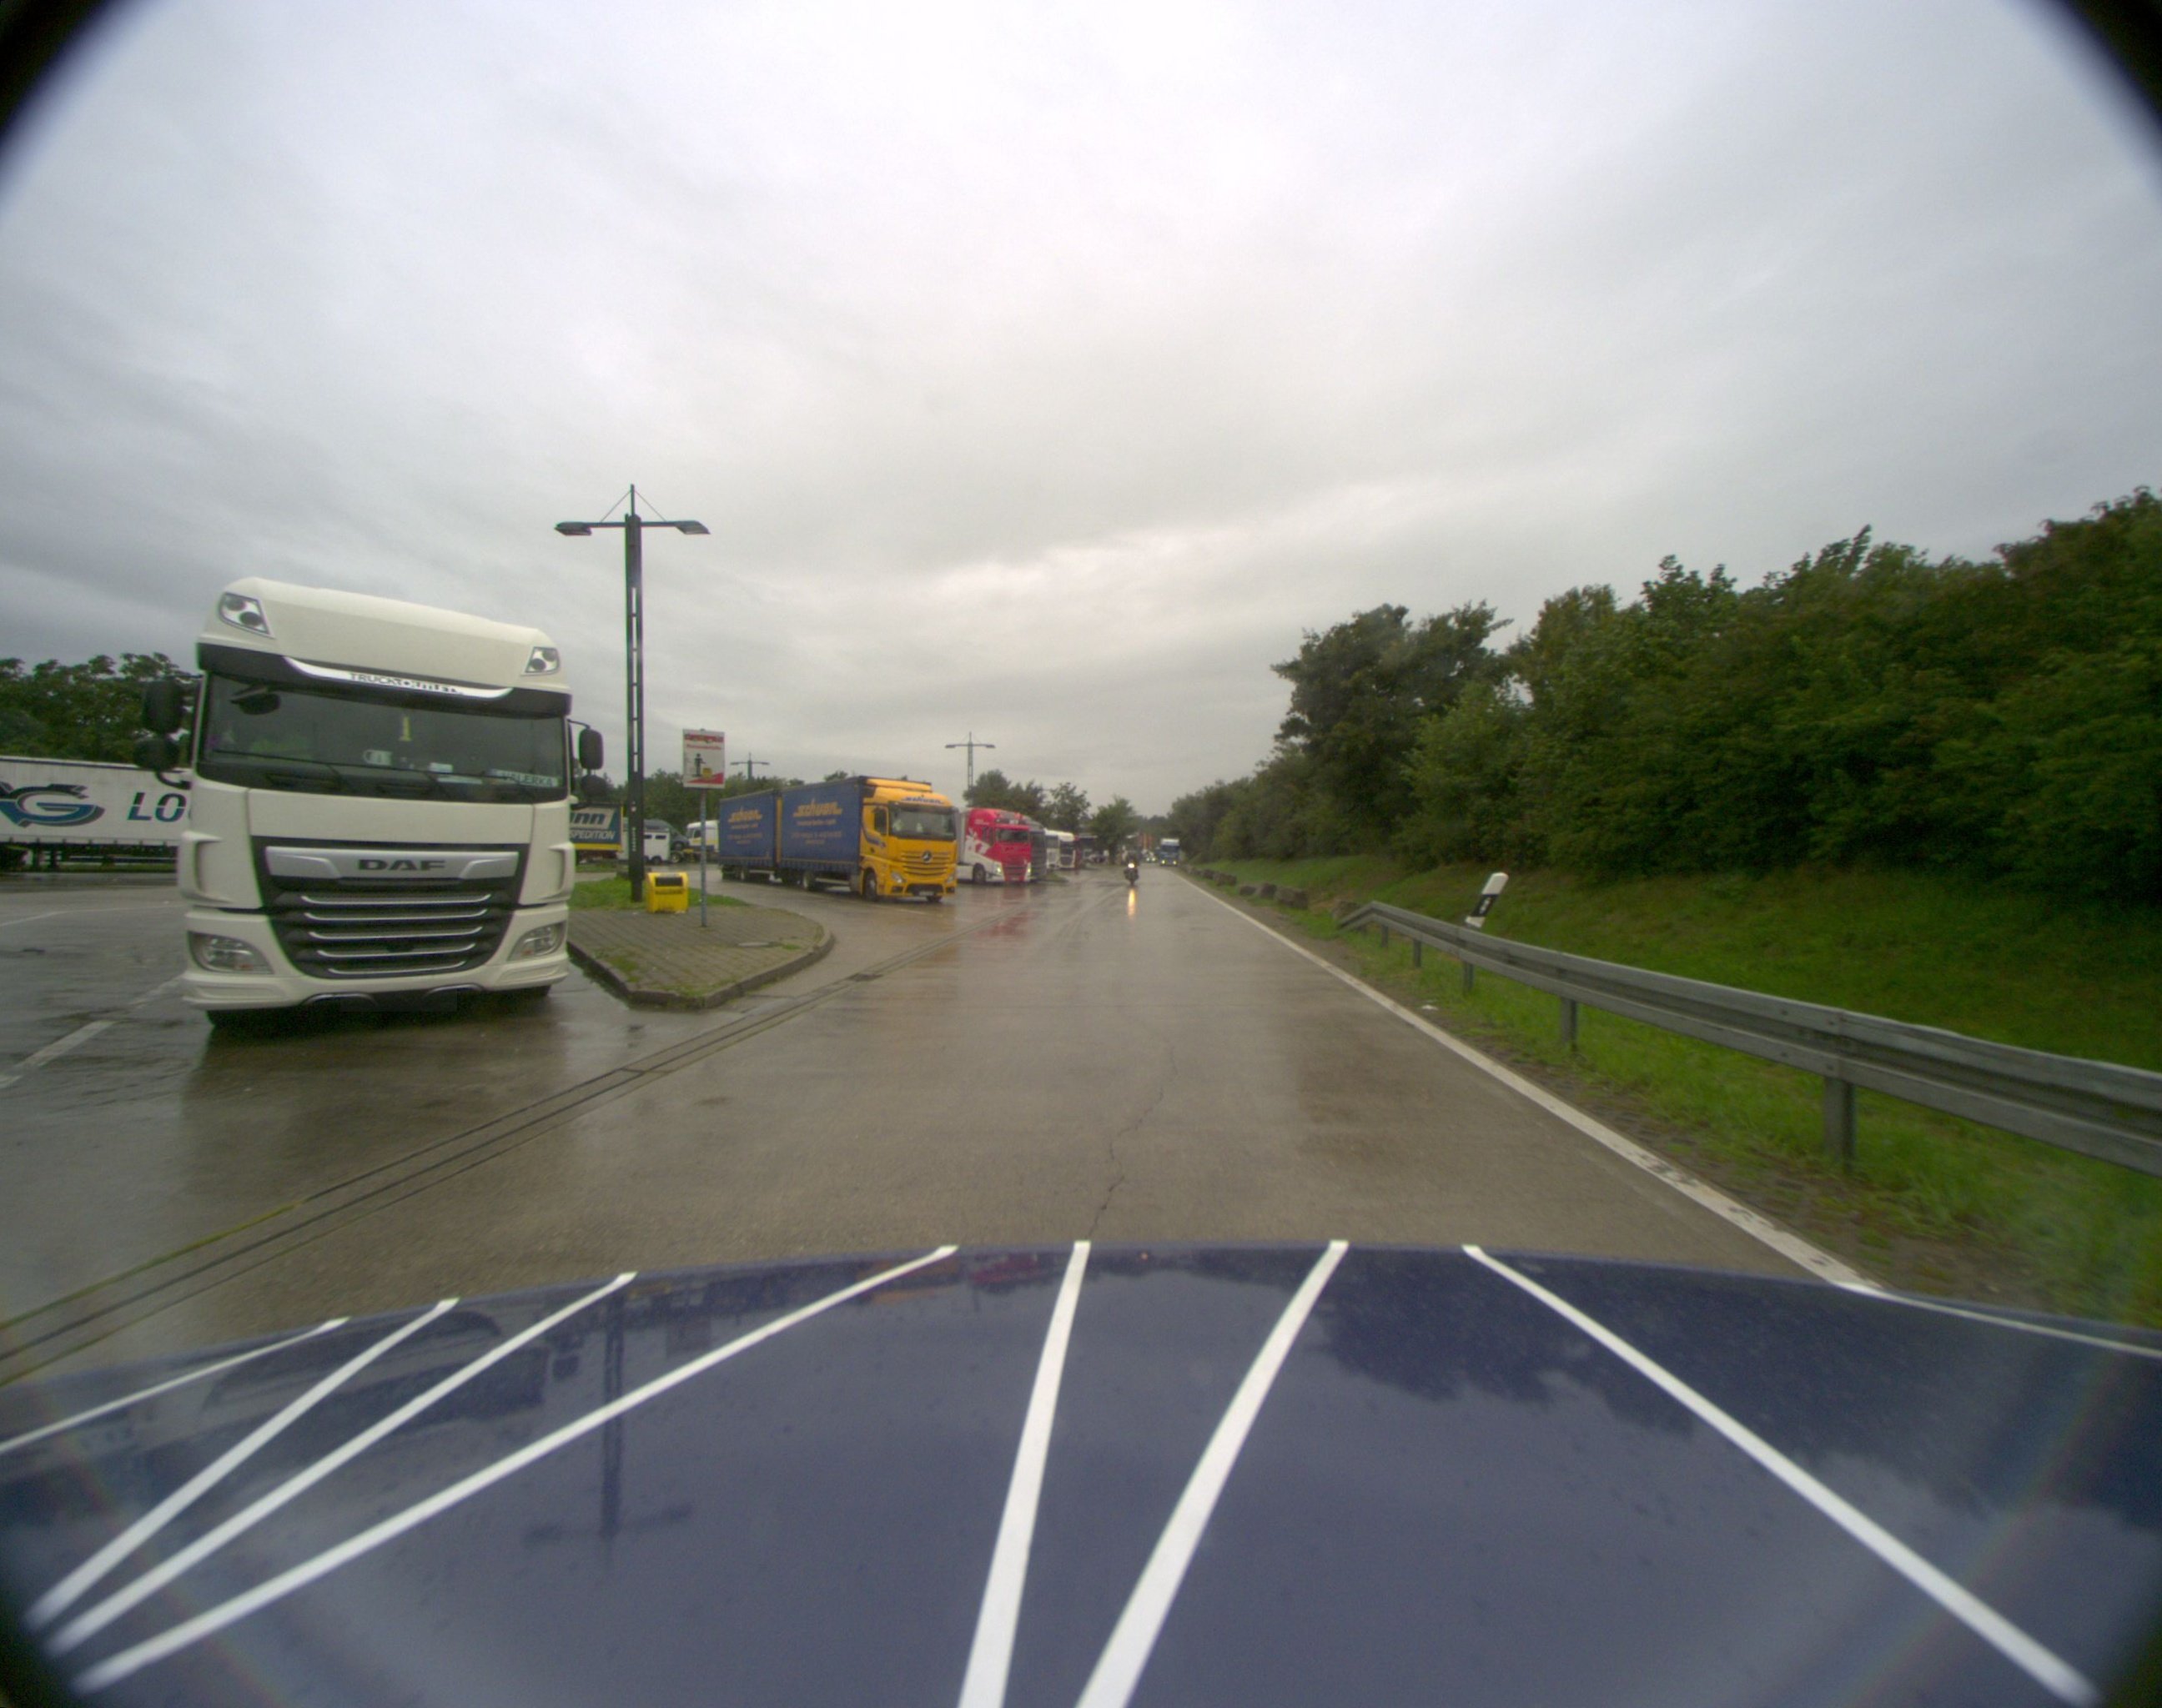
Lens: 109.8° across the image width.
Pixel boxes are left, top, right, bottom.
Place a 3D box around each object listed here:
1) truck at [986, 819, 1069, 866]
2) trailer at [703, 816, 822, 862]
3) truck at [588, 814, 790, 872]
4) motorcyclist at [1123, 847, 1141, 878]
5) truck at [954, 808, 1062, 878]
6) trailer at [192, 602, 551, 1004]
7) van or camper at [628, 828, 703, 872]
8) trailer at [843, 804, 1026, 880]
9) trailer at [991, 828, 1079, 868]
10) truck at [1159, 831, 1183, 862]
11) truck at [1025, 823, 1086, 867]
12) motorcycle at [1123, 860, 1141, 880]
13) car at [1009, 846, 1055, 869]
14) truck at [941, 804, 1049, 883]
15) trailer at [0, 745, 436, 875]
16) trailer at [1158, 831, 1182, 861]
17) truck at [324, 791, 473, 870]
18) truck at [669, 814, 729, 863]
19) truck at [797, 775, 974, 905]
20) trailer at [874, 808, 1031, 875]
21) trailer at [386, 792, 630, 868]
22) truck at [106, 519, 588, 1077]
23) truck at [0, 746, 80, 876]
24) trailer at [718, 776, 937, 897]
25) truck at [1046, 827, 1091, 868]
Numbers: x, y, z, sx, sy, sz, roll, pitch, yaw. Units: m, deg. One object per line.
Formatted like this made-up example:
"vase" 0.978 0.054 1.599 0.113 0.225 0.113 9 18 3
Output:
"truck" -5.021 -1.065 69.530 3.253 4.068 7.914 1 1 -43
"trailer" -31.405 -1.431 75.381 10.483 4.361 3.087 0 1 -41
"truck" -32.416 -0.880 63.727 14.598 4.361 3.468 0 1 -40
"motorcyclist" 2.735 0.451 40.381 0.877 1.558 1.374 1 0 6
"truck" -4.462 -0.652 45.353 2.906 3.896 6.536 1 1 -43
"trailer" -12.073 -0.602 13.565 2.850 3.896 13.913 1 1 -41
"van or camper" -32.015 -0.316 58.590 4.616 3.219 2.264 -3 1 -40
"trailer" -9.238 -0.730 45.316 3.253 3.896 14.786 1 1 -43
"trailer" -5.574 -0.704 88.108 2.548 4.361 12.796 -1 1 -43
"truck" 12.895 -1.099 109.444 3.242 4.361 6.316 0 1 5
"truck" -2.656 -0.911 78.275 3.253 4.361 5.796 -1 1 -43
"motorcycle" 2.736 0.857 40.463 0.877 1.016 2.354 1 0 6
"car" -4.125 0.282 63.423 1.852 1.848 3.988 -1 1 -41
"truck" -4.632 -0.564 40.408 3.253 3.896 5.007 1 1 -43
"trailer" -33.527 -1.573 28.376 14.192 4.233 2.661 -3 1 -41
"trailer" 13.503 -1.220 115.972 3.242 4.361 13.770 0 1 5
"truck" -34.461 -1.210 38.550 5.350 3.734 2.064 -3 1 -42
"truck" -35.917 -1.424 71.419 4.406 4.361 3.087 -1 1 -41
"truck" -7.159 -0.474 26.779 2.846 3.896 8.107 1 1 -39
"trailer" -8.868 -0.831 50.011 2.882 3.896 13.894 1 1 -43
"trailer" -31.006 -1.388 41.725 10.408 3.733 2.064 -3 1 -42
"truck" -7.500 -0.402 8.260 2.837 3.890 5.395 0 1 -41
"truck" -38.211 -1.315 24.367 6.797 4.250 2.661 -3 1 -41
"trailer" -11.435 -0.705 31.891 2.875 3.896 16.585 1 1 -40
"truck" -1.413 -0.709 83.692 2.612 4.361 4.615 -1 1 -43
